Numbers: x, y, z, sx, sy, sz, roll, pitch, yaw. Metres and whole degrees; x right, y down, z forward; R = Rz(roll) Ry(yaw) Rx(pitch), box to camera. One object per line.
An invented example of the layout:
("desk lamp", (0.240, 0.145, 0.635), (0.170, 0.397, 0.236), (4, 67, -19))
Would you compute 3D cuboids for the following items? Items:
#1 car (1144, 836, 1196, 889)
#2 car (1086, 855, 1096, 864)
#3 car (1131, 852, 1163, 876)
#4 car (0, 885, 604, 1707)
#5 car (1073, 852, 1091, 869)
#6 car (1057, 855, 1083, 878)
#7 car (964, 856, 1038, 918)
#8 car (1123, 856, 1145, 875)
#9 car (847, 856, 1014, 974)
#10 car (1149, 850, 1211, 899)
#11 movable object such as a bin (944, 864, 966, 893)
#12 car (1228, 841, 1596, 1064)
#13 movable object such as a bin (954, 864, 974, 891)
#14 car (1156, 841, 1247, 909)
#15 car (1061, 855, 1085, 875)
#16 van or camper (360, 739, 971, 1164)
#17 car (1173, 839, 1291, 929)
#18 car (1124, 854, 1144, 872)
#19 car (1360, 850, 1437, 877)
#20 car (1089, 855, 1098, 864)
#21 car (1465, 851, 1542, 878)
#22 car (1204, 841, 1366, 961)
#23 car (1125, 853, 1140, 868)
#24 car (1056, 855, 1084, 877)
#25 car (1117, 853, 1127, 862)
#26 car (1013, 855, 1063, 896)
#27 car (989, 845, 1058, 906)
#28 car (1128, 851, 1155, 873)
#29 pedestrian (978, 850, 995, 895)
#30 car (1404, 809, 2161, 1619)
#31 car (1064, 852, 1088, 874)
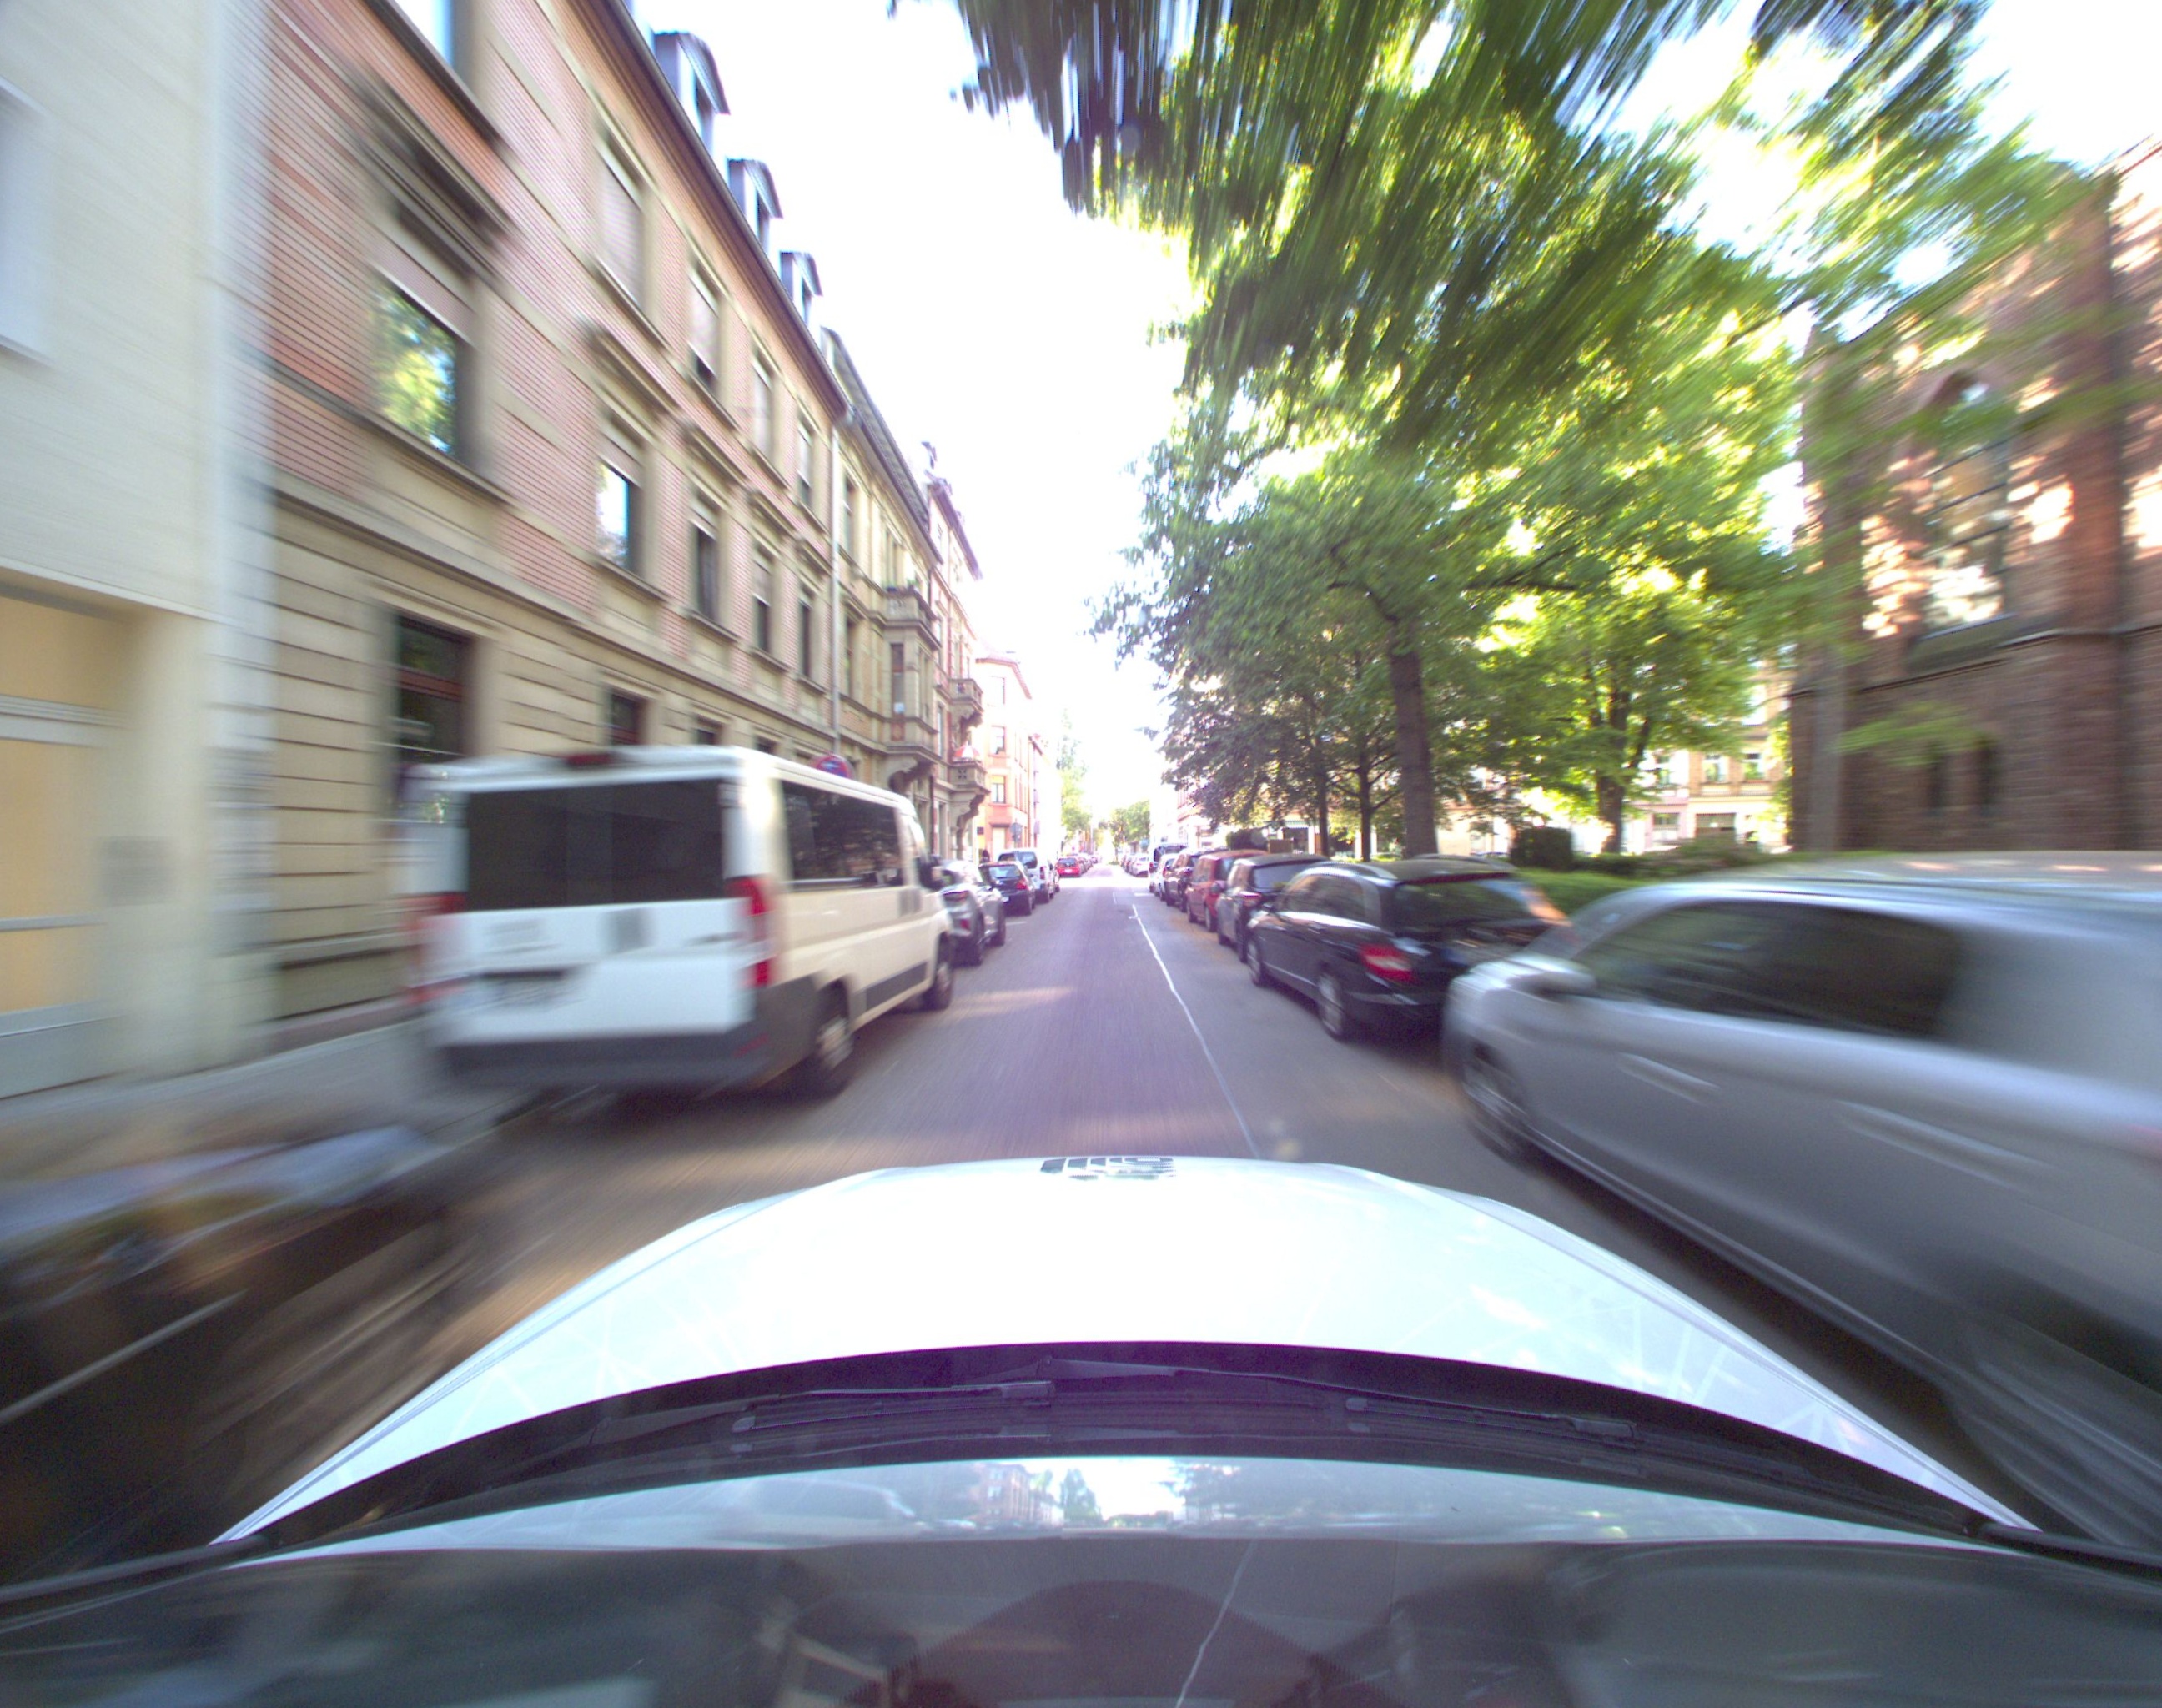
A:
("car", (3.668, 0.329, 34.191), (1.906, 1.998, 4.797), (-3, 0, 4))
("car", (1.863, 0.989, 145.643), (1.670, 1.487, 4.095), (-3, 0, 1))
("car", (4.534, 0.690, 56.312), (1.739, 1.506, 4.356), (-3, 0, -1))
("car", (-2.715, 0.860, 0.773), (1.723, 1.402, 4.319), (-3, 0, 3))
("car", (0.139, 0.673, 91.312), (1.759, 1.785, 4.040), (-3, 0, 1))
("car", (-0.764, 0.837, 57.031), (1.622, 1.481, 3.602), (-3, 0, 1))
("car", (-2.157, 0.859, 23.001), (1.688, 1.514, 3.971), (-3, 0, -1))
("car", (4.619, 0.976, 71.623), (1.670, 1.506, 3.938), (-3, 0, 1))
("car", (-2.215, 0.831, 13.146), (1.760, 1.514, 4.194), (-3, 0, 1))
("car", (3.414, 0.670, 28.741), (1.713, 1.571, 3.828), (-1, 0, 0))
("movable object such as a bin", (-4.667, 0.899, 30.302), (0.635, 1.041, 0.856), (1, 0, 1))
("car", (2.810, 0.738, 8.211), (1.670, 1.441, 4.694), (-6, -1, 0))
("movable object such as a bin", (-4.665, 0.921, 32.548), (0.635, 1.041, 0.856), (1, 0, 1))
("car", (3.362, 0.585, 23.545), (1.735, 1.603, 4.260), (-6, -1, -2))
("car", (-0.630, 0.859, 66.652), (1.649, 1.521, 3.948), (-3, 0, 4))
("van or camper", (-2.559, 0.517, 6.868), (2.167, 2.148, 5.159), (-3, 0, 3))
("car", (3.190, 0.621, 17.939), (1.615, 1.624, 3.860), (-6, -1, -2))
("car", (4.950, 0.809, 76.513), (1.670, 1.506, 3.938), (-3, 0, 1))
("car", (18.139, 0.571, 46.711), (3.832, 1.473, 1.637), (0, -2, 8))
("car", (2.296, 1.008, 150.636), (1.670, 1.487, 4.095), (-3, 0, 1))
("car", (23.831, 0.625, 46.037), (3.510, 1.473, 1.637), (0, -2, 8))
("car", (3.045, 0.656, 12.934), (1.613, 1.486, 3.777), (-6, -1, 2))
("car", (5.912, 0.753, 93.520), (1.669, 1.681, 4.097), (-3, -1, 3))
("car", (-0.799, 0.866, 61.830), (1.688, 1.521, 4.100), (-3, 0, 4))
("car", (7.371, 0.600, 146.582), (1.670, 1.487, 3.639), (-3, 0, 1))
("car", (-1.693, 0.819, 33.267), (1.686, 1.481, 3.974), (-3, 0, 1))
("car", (-1.869, 0.669, 27.893), (1.824, 1.811, 4.573), (-3, 0, 2))
("car", (4.594, 0.607, 62.164), (1.737, 1.506, 4.022), (-3, 0, 1))
("pedestrian", (-3.523, 0.689, 30.341), (0.546, 1.644, 0.717), (0, -2, 1))
("car", (2.802, 0.685, 3.001), (1.595, 1.505, 3.626), (-6, -1, -1))
("car", (-0.401, 0.770, 72.147), (1.736, 1.811, 4.676), (-3, 0, 4))
